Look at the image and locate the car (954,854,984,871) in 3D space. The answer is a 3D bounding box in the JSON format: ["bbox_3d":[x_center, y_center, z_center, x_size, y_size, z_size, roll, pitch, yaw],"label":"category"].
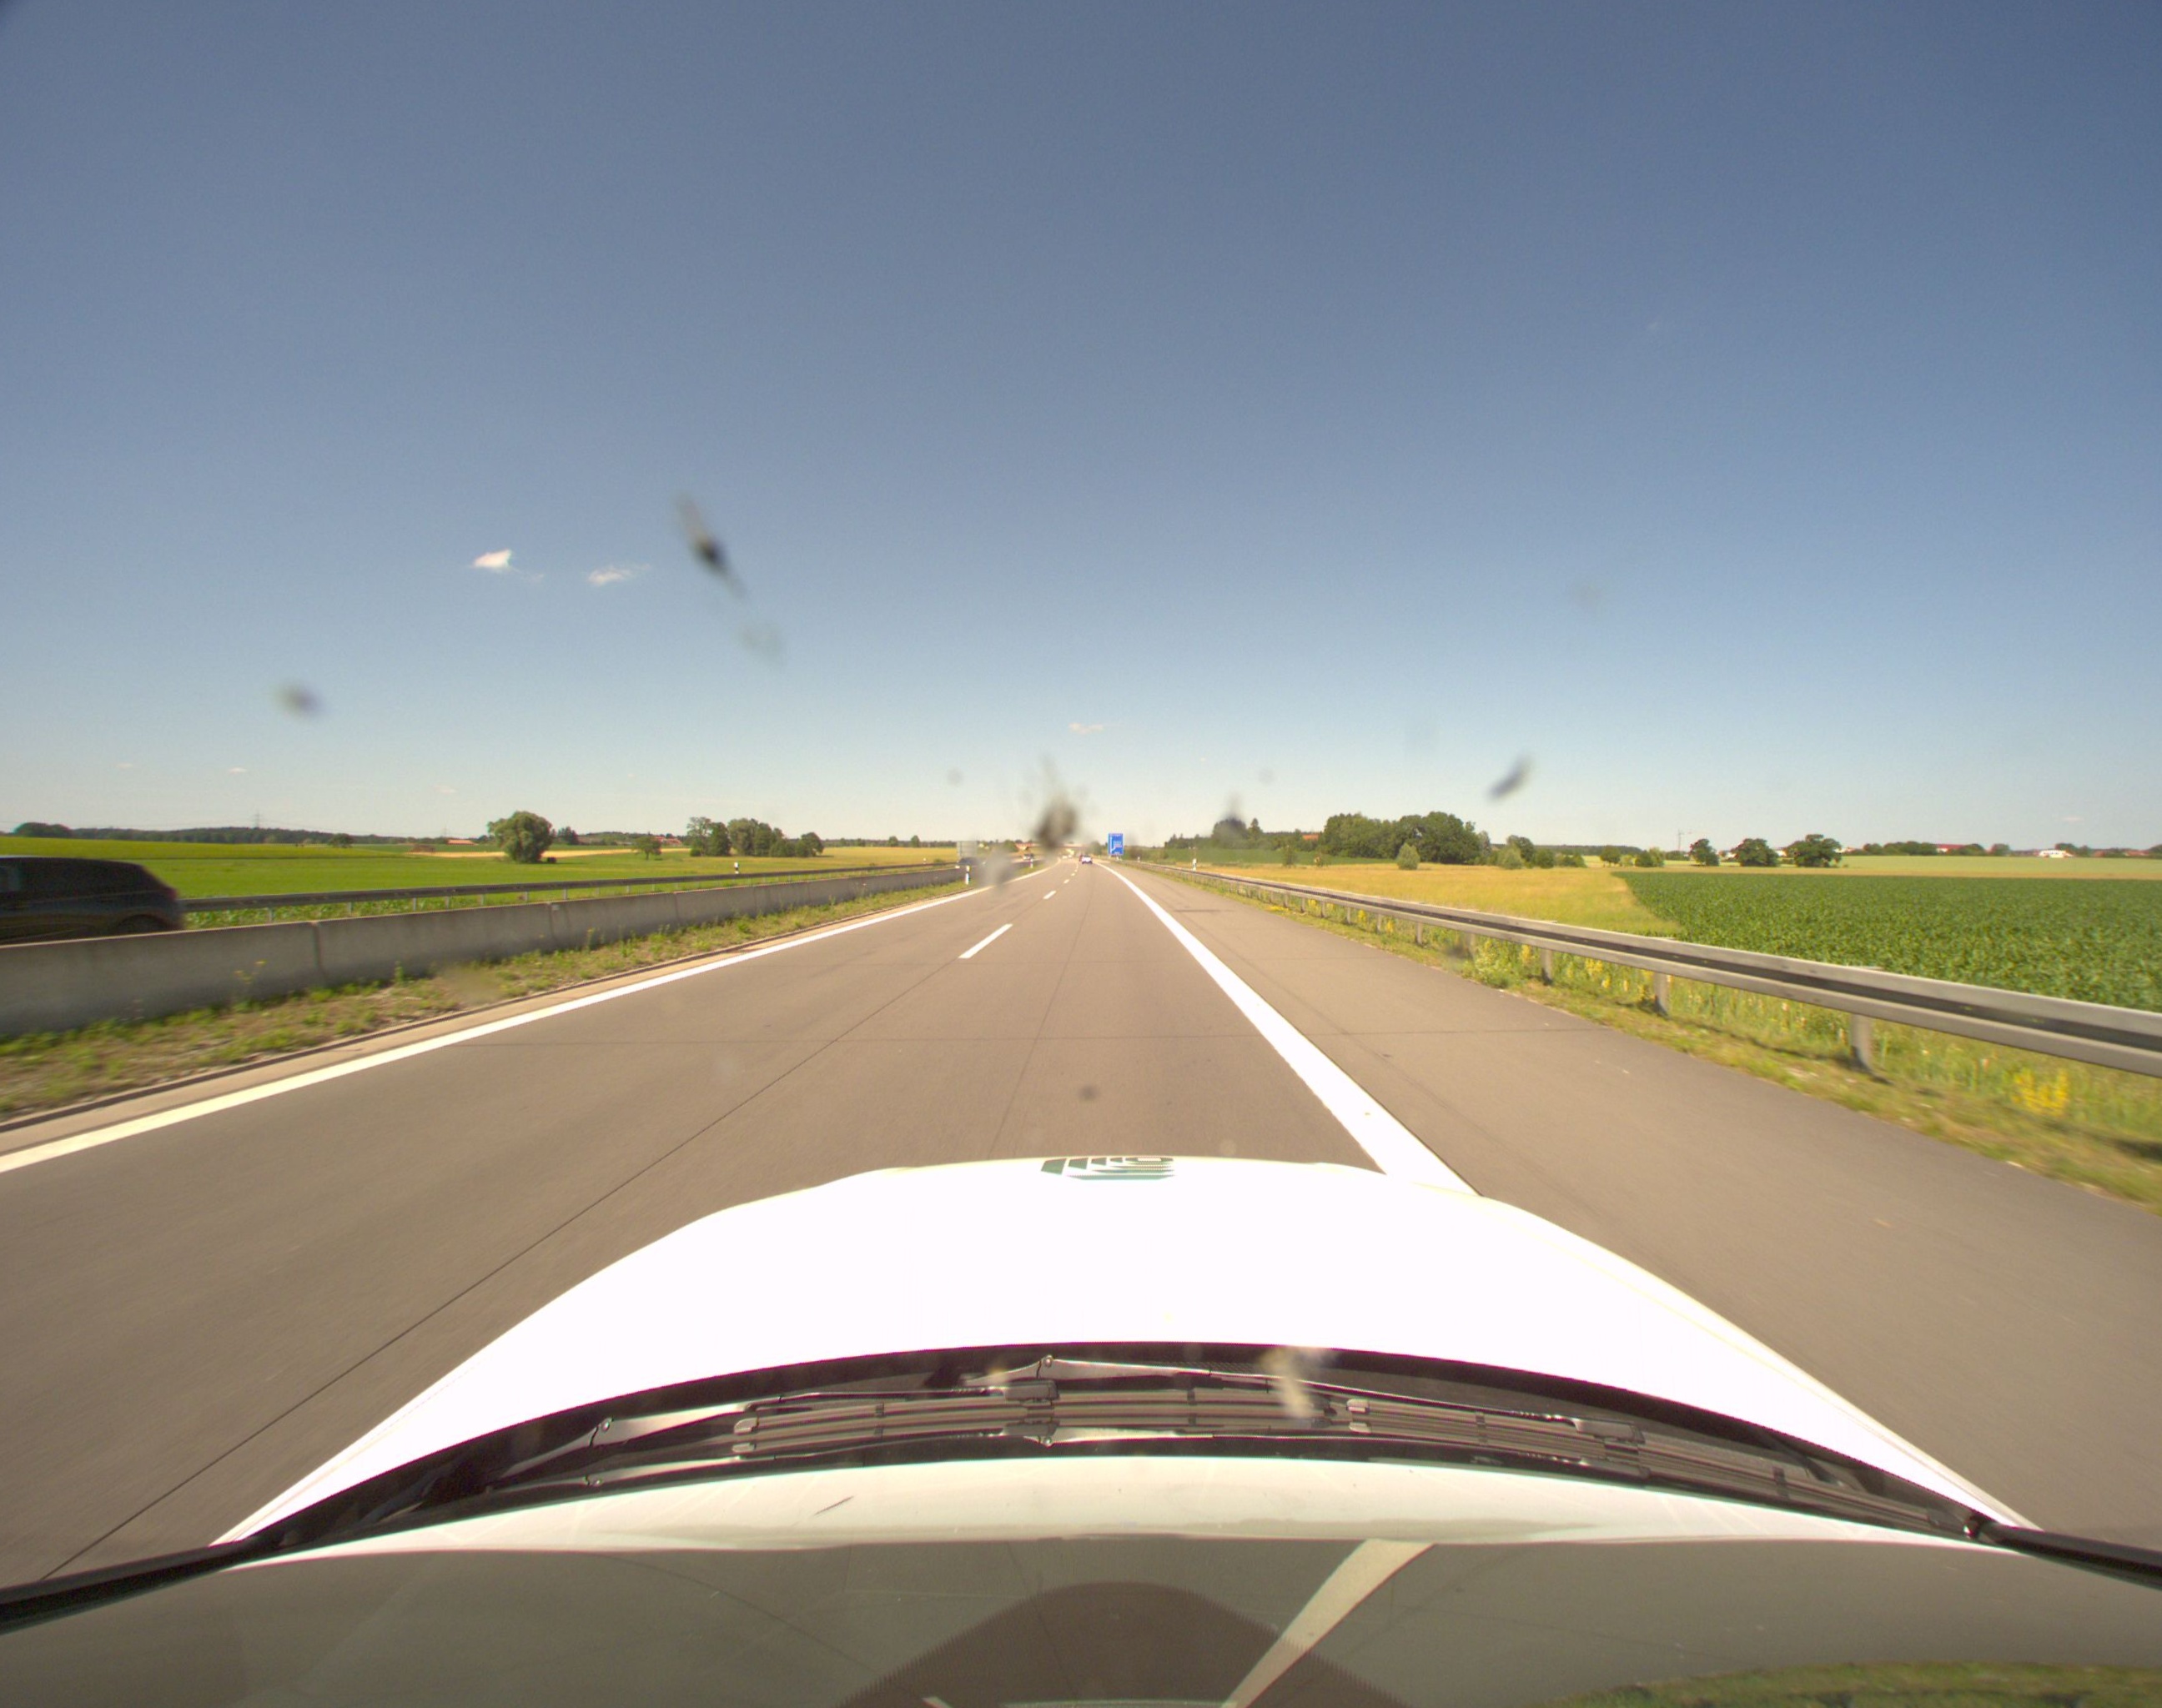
[{"bbox_3d":[-9.375,0.682,68.359,1.817,1.365,4.659,-1,0,0],"label":"car"}]

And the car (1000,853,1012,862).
[{"bbox_3d":[-13.585,0.618,148.323,1.853,1.584,4.912,-1,0,-1],"label":"car"}]

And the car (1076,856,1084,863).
[{"bbox_3d":[-0.199,1.298,195.205,1.987,1.731,4.867,0,0,-1],"label":"car"}]

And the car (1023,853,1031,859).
[{"bbox_3d":[-15.101,0.541,229.068,1.948,1.842,5.447,-1,0,-1],"label":"car"}]

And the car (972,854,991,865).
[{"bbox_3d":[-13.020,0.676,106.630,1.817,1.365,5.295,-1,0,0],"label":"car"}]

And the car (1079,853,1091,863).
[{"bbox_3d":[0.685,0.702,144.860,1.989,1.731,4.865,0,0,-2],"label":"car"}]

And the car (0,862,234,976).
[{"bbox_3d":[-14.235,0.844,10.414,1.816,1.365,4.665,-1,0,1],"label":"car"}]
